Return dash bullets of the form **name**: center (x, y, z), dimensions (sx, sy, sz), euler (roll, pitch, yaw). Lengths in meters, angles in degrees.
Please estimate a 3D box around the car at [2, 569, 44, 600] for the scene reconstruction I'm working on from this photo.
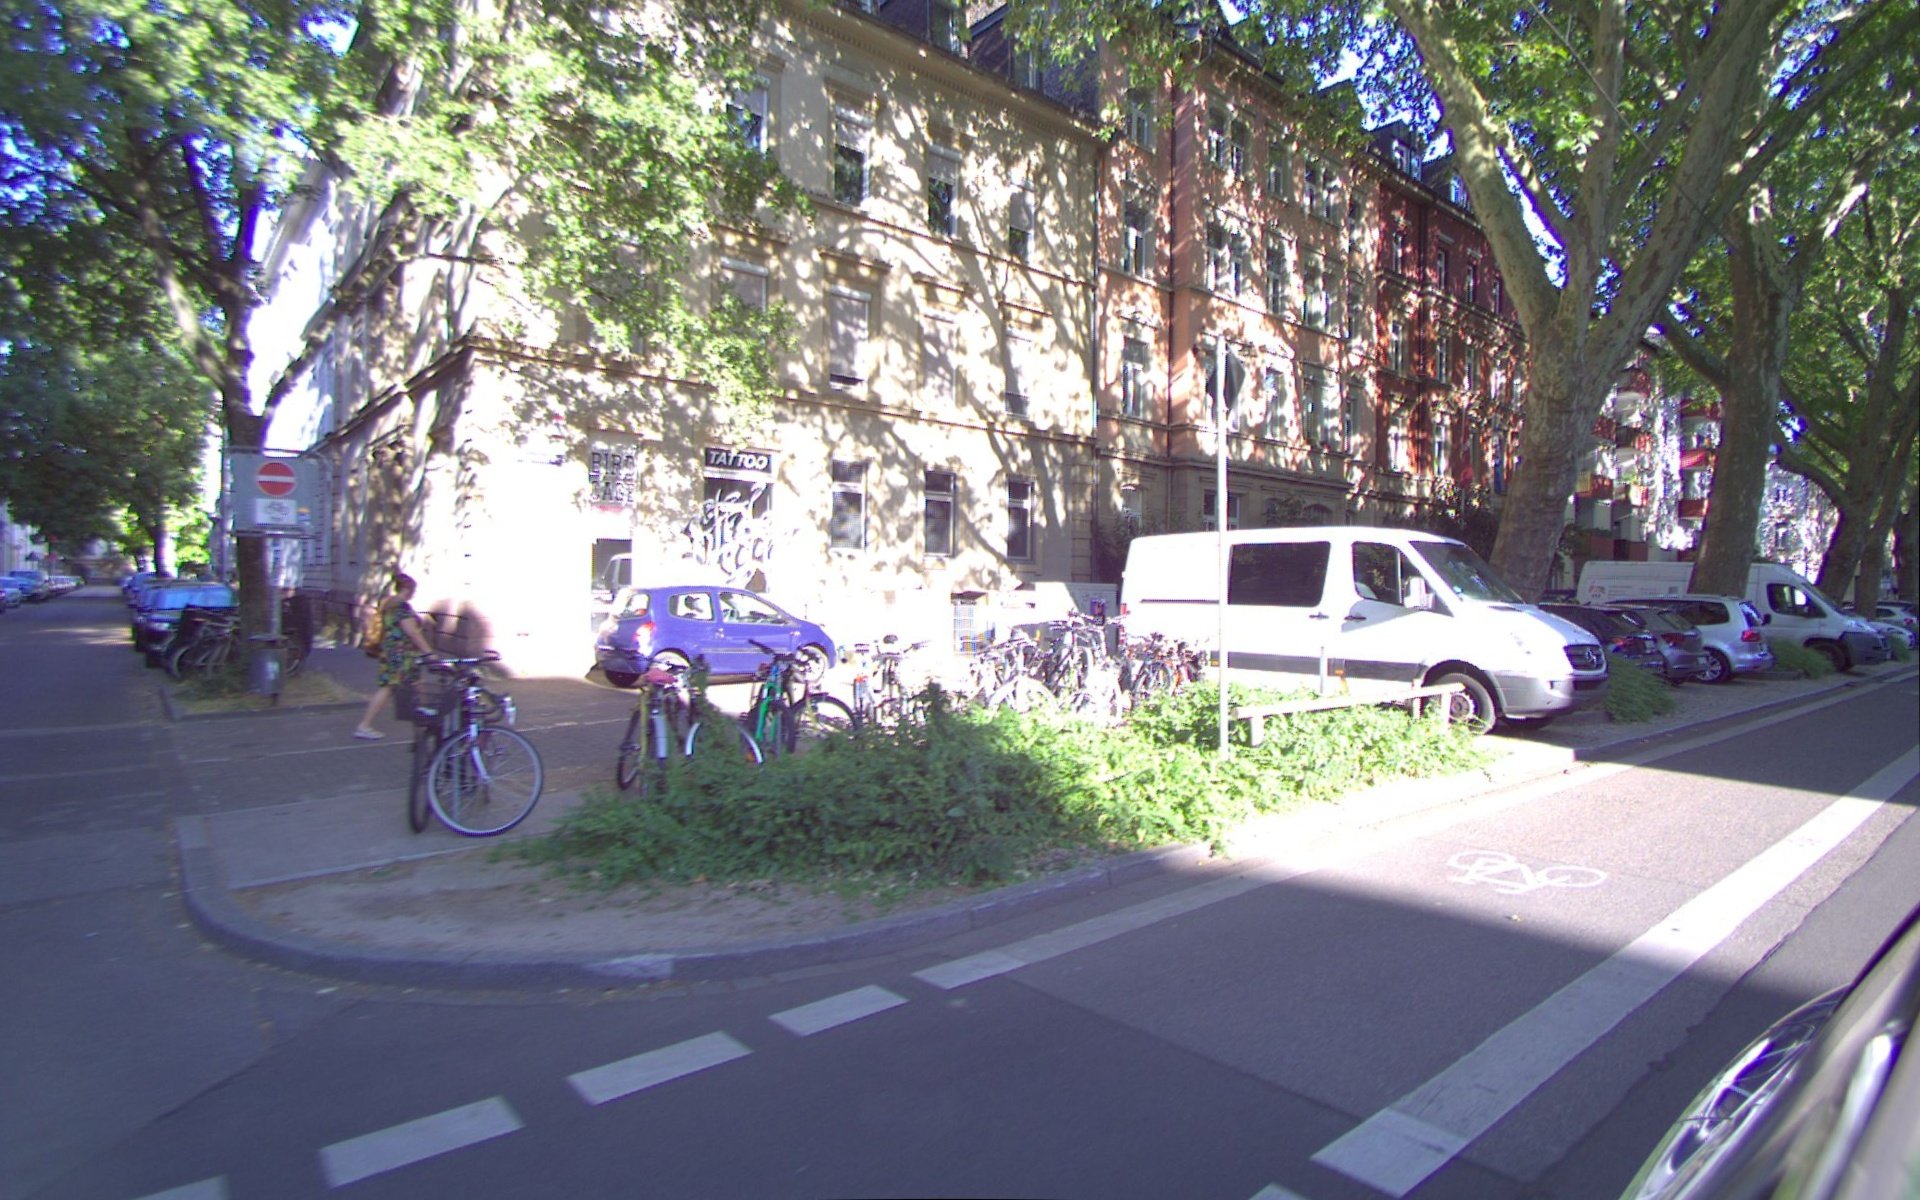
- **car**: center (-57.696, -0.978, 62.358), dimensions (1.624, 1.799, 3.415), euler (3, -1, -39)

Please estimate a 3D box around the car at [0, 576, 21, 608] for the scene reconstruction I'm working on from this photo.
- **car**: center (-47.517, -0.442, 49.794), dimensions (1.624, 1.509, 3.416), euler (3, -1, -38)

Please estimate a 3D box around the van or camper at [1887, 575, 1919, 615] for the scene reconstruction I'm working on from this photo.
- **van or camper**: center (53.123, -0.248, 54.680), dimensions (1.808, 2.136, 4.381), euler (0, 1, -43)

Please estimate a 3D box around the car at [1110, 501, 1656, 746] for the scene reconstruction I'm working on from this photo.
- **car**: center (4.752, 0.172, 12.498), dimensions (1.969, 2.311, 6.007), euler (1, 0, -38)

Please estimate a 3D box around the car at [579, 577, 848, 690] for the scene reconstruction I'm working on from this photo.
- **car**: center (-3.581, 0.444, 15.038), dimensions (3.511, 1.474, 1.734), euler (0, -1, -44)

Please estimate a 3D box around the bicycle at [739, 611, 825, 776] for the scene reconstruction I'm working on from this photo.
- **bicycle**: center (-1.569, 0.721, 8.701), dimensions (0.404, 1.193, 2.053), euler (0, 1, -19)

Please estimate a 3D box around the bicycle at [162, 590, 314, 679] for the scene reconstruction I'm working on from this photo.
- **bicycle**: center (-11.879, 0.536, 16.698), dimensions (1.973, 1.333, 0.522), euler (-3, 1, -41)

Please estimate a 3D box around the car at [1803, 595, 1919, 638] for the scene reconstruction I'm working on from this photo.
- **car**: center (34.870, 0.607, 38.874), dimensions (1.631, 1.514, 3.615), euler (0, 1, -41)

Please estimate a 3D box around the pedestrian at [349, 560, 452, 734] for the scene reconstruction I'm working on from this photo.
- **pedestrian**: center (-5.612, 0.445, 10.168), dimensions (0.587, 1.672, 0.703), euler (0, 0, 24)

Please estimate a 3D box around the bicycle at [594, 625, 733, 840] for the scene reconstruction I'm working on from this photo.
- **bicycle**: center (-2.091, 0.805, 6.957), dimensions (0.405, 1.193, 2.050), euler (0, 1, -31)

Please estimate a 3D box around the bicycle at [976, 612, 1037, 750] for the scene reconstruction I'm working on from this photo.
- **bicycle**: center (0.435, 0.743, 10.154), dimensions (0.405, 1.193, 2.050), euler (0, 1, -3)

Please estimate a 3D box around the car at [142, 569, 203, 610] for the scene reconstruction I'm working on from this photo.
- **car**: center (-31.911, -0.453, 41.064), dimensions (1.820, 1.549, 3.868), euler (-3, 3, -37)

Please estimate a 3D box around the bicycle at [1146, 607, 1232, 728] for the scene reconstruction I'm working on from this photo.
- **bicycle**: center (2.539, 0.701, 11.422), dimensions (0.405, 1.193, 2.050), euler (0, 1, -3)

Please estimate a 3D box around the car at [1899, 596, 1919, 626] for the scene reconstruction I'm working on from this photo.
- **car**: center (51.450, 0.601, 52.708), dimensions (1.648, 1.550, 3.568), euler (0, 1, -41)

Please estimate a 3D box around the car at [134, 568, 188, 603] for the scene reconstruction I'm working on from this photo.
- **car**: center (-37.322, -0.704, 47.350), dimensions (1.820, 1.549, 3.868), euler (-3, 3, -37)

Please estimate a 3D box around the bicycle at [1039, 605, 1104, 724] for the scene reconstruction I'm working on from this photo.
- **bicycle**: center (1.245, 0.679, 11.604), dimensions (0.405, 1.193, 2.050), euler (0, 1, -3)

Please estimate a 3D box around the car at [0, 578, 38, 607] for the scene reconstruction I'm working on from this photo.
- **car**: center (-53.502, -0.428, 57.304), dimensions (1.624, 1.509, 3.416), euler (3, -1, -38)

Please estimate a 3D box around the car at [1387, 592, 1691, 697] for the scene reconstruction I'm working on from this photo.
- **car**: center (9.530, 0.639, 16.913), dimensions (1.765, 1.478, 4.061), euler (0, 1, -41)

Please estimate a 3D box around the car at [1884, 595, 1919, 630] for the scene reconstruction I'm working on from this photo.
- **car**: center (43.538, 0.600, 44.760), dimensions (1.671, 1.462, 3.829), euler (4, -1, -44)

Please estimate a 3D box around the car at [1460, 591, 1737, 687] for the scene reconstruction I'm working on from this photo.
- **car**: center (11.636, 0.624, 18.652), dimensions (1.764, 1.497, 3.963), euler (0, 1, -40)

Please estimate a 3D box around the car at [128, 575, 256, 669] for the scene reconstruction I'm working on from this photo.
- **car**: center (-15.310, 0.343, 20.335), dimensions (1.819, 1.618, 4.000), euler (-3, 3, -35)

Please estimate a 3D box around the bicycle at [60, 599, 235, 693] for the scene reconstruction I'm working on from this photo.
- **bicycle**: center (-12.232, 0.654, 15.296), dimensions (0.506, 1.301, 2.013), euler (1, 1, 45)

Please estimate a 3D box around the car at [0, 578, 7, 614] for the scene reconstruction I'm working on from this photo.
- **car**: center (-40.836, -0.192, 41.924), dimensions (1.624, 1.509, 3.416), euler (3, -1, -38)

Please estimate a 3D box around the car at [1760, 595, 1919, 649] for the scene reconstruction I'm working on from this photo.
- **car**: center (27.771, 0.650, 31.699), dimensions (1.658, 1.498, 3.963), euler (0, 2, -39)

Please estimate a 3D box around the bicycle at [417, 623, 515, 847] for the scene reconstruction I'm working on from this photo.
- **bicycle**: center (-3.313, 0.789, 6.714), dimensions (0.405, 1.193, 2.050), euler (0, 1, -31)

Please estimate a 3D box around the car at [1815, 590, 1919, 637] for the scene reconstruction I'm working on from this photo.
- **car**: center (36.746, 0.513, 40.184), dimensions (1.773, 1.767, 4.002), euler (1, 0, -40)

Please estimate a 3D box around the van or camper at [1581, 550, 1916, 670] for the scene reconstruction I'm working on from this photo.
- **van or camper**: center (18.652, 0.129, 24.300), dimensions (2.070, 2.522, 6.045), euler (0, 1, -40)

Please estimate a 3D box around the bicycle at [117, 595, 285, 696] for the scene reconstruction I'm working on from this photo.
- **bicycle**: center (-10.985, 0.617, 14.722), dimensions (0.503, 1.301, 1.887), euler (0, 2, 31)

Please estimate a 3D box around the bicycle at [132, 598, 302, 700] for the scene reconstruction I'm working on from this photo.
- **bicycle**: center (-10.441, 0.646, 14.305), dimensions (0.503, 1.271, 1.889), euler (0, 2, 28)

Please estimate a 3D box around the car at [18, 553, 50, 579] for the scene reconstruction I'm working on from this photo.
- **car**: center (-68.391, -2.492, 74.784), dimensions (1.475, 1.799, 3.415), euler (3, -1, -39)

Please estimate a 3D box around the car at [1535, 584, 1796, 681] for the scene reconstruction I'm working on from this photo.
- **car**: center (13.825, 0.540, 19.994), dimensions (1.766, 1.676, 3.960), euler (-1, 2, -42)

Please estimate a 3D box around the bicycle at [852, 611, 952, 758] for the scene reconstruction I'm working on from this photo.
- **bicycle**: center (-0.596, 0.732, 9.641), dimensions (0.404, 1.193, 2.053), euler (0, 1, -19)

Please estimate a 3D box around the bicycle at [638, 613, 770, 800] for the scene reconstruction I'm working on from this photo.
- **bicycle**: center (-2.004, 0.720, 7.722), dimensions (0.405, 1.193, 2.050), euler (0, 1, -31)

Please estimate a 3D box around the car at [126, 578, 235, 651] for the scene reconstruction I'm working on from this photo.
- **car**: center (-18.405, 0.266, 24.050), dimensions (1.819, 1.485, 4.000), euler (-3, 3, -35)

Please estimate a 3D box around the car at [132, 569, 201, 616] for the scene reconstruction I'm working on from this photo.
- **car**: center (-28.541, -0.325, 36.469), dimensions (1.820, 1.549, 3.998), euler (-3, 3, -37)

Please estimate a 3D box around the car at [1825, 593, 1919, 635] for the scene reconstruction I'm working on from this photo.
- **car**: center (38.740, 0.560, 41.882), dimensions (1.713, 1.673, 4.296), euler (0, 1, -42)

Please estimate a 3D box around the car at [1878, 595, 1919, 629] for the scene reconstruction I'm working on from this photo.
- **car**: center (45.323, 0.607, 46.627), dimensions (1.877, 1.500, 4.207), euler (0, 2, -39)
